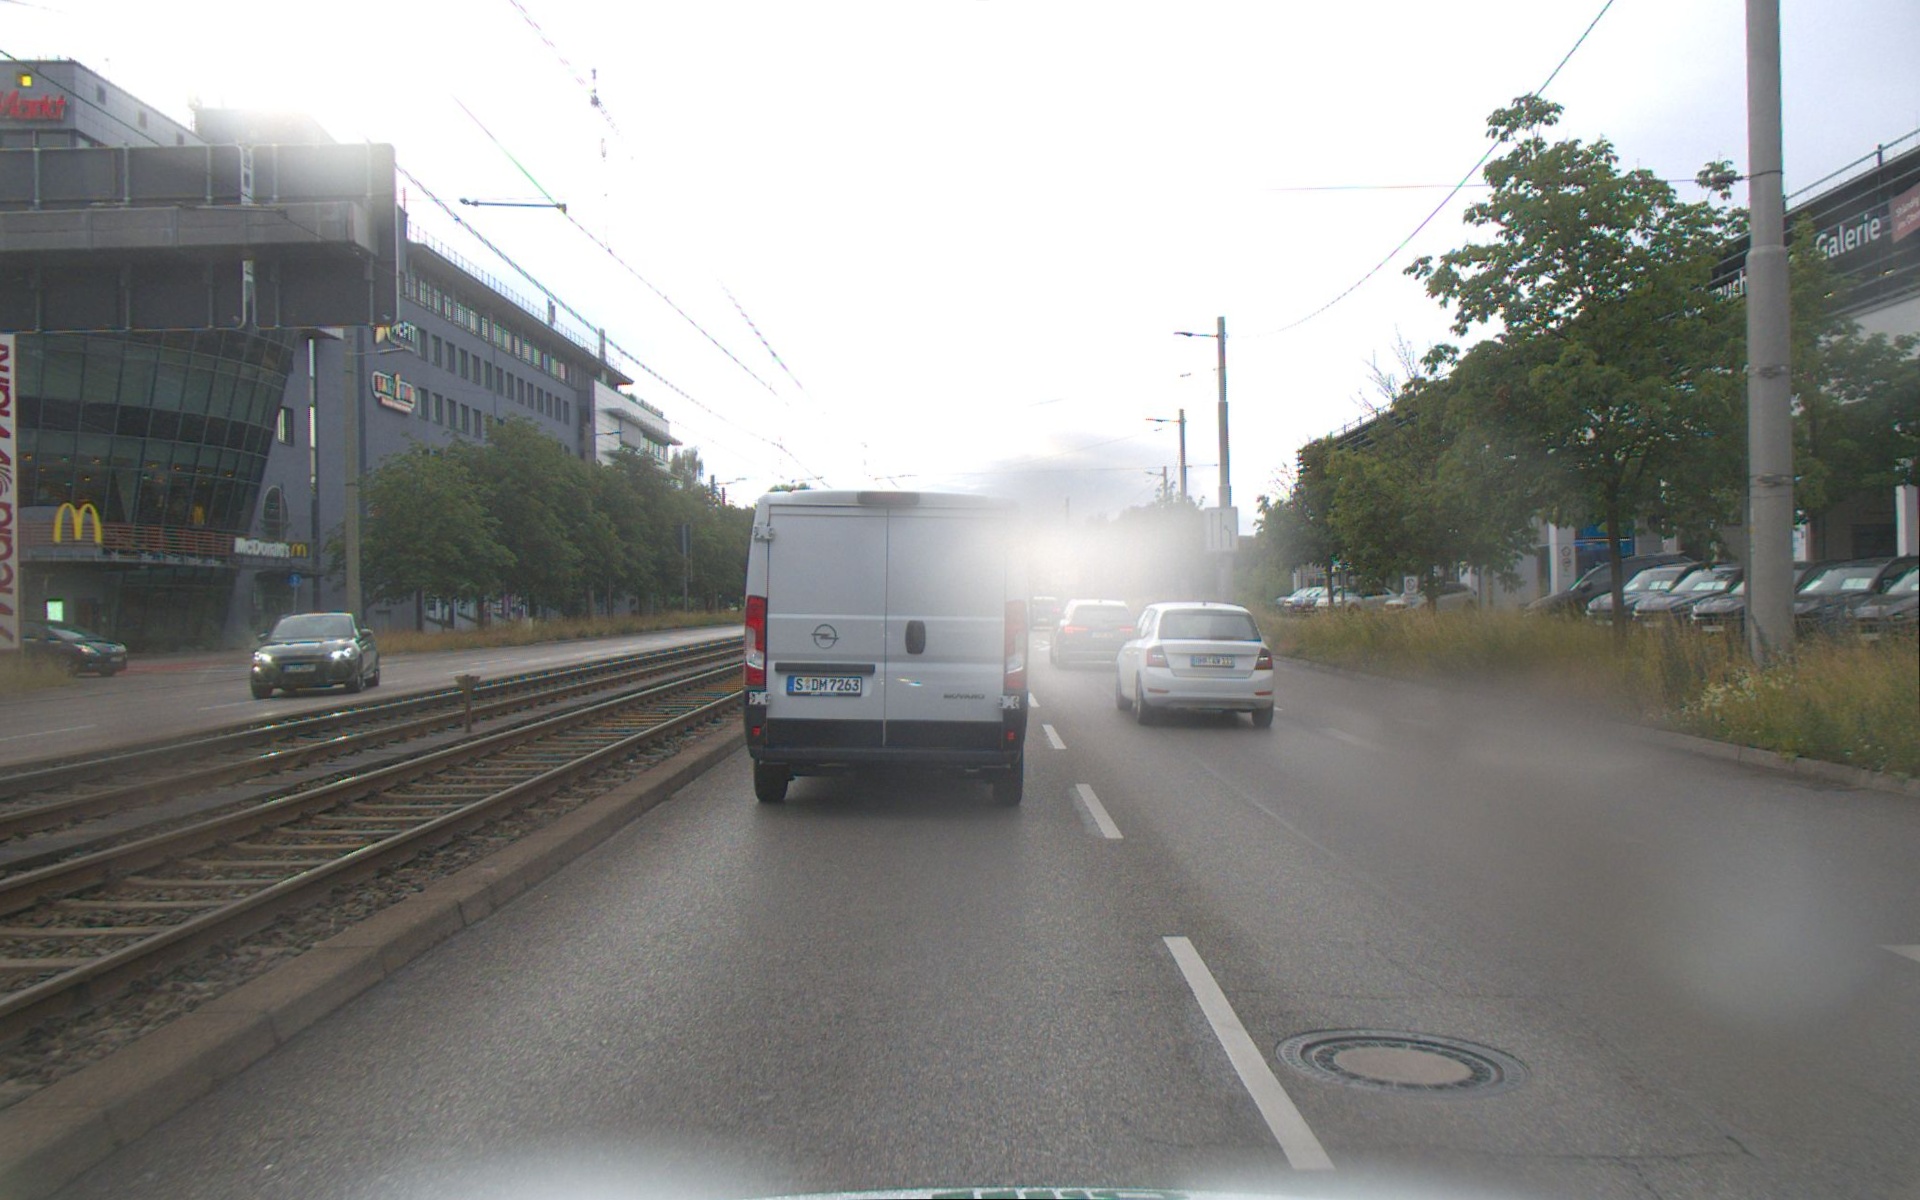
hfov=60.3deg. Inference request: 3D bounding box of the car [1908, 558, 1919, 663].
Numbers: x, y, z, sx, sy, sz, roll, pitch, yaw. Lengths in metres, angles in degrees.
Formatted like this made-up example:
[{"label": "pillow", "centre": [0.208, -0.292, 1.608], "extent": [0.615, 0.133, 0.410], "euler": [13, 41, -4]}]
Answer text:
[{"label": "car", "centre": [16.329, 0.044, 24.410], "extent": [4.077, 1.554, 1.821], "euler": [-3, 0, -20]}]
